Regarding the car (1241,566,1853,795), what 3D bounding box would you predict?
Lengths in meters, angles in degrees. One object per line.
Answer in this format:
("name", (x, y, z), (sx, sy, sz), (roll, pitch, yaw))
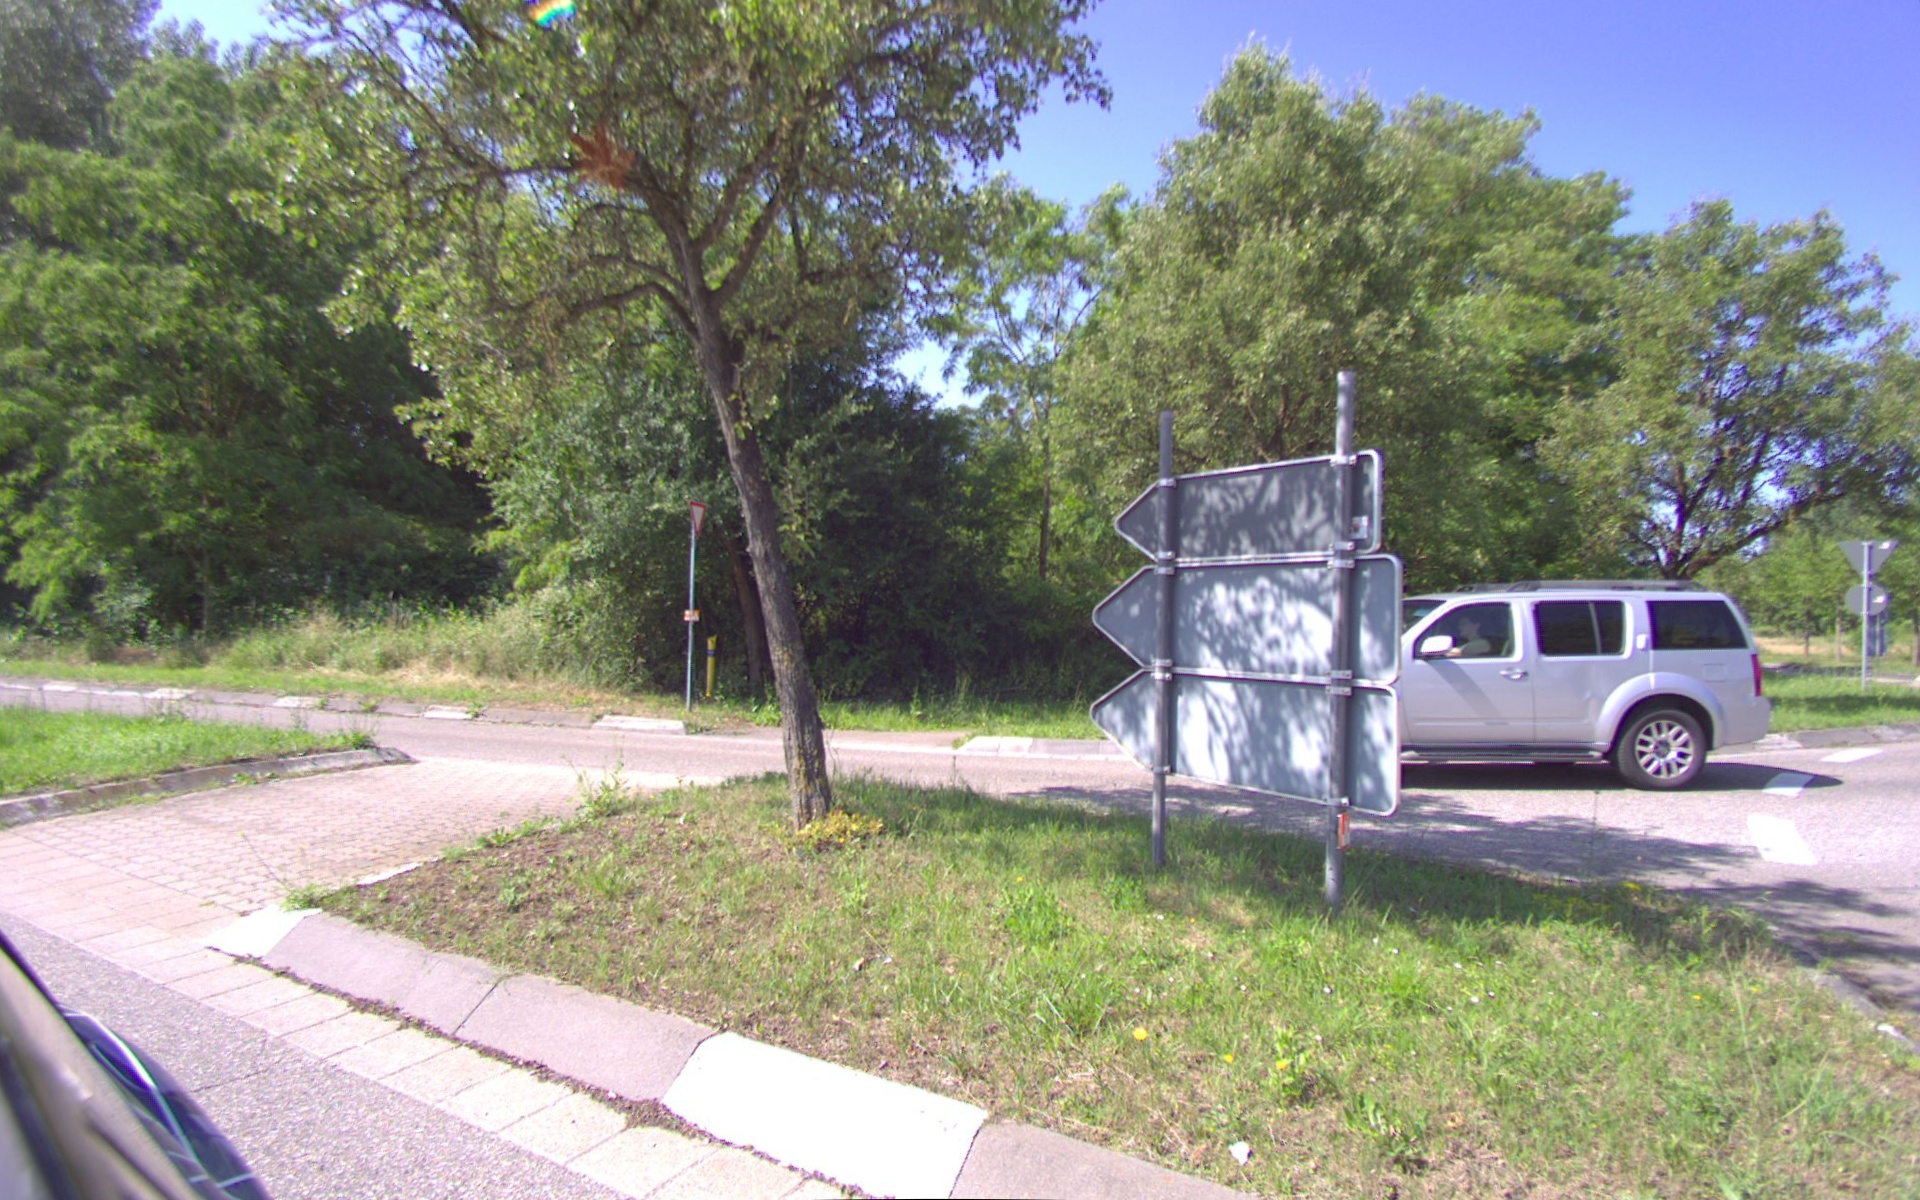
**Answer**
("car", (5.161, 0.690, 9.394), (4.532, 1.829, 1.899), (1, -1, 0))
